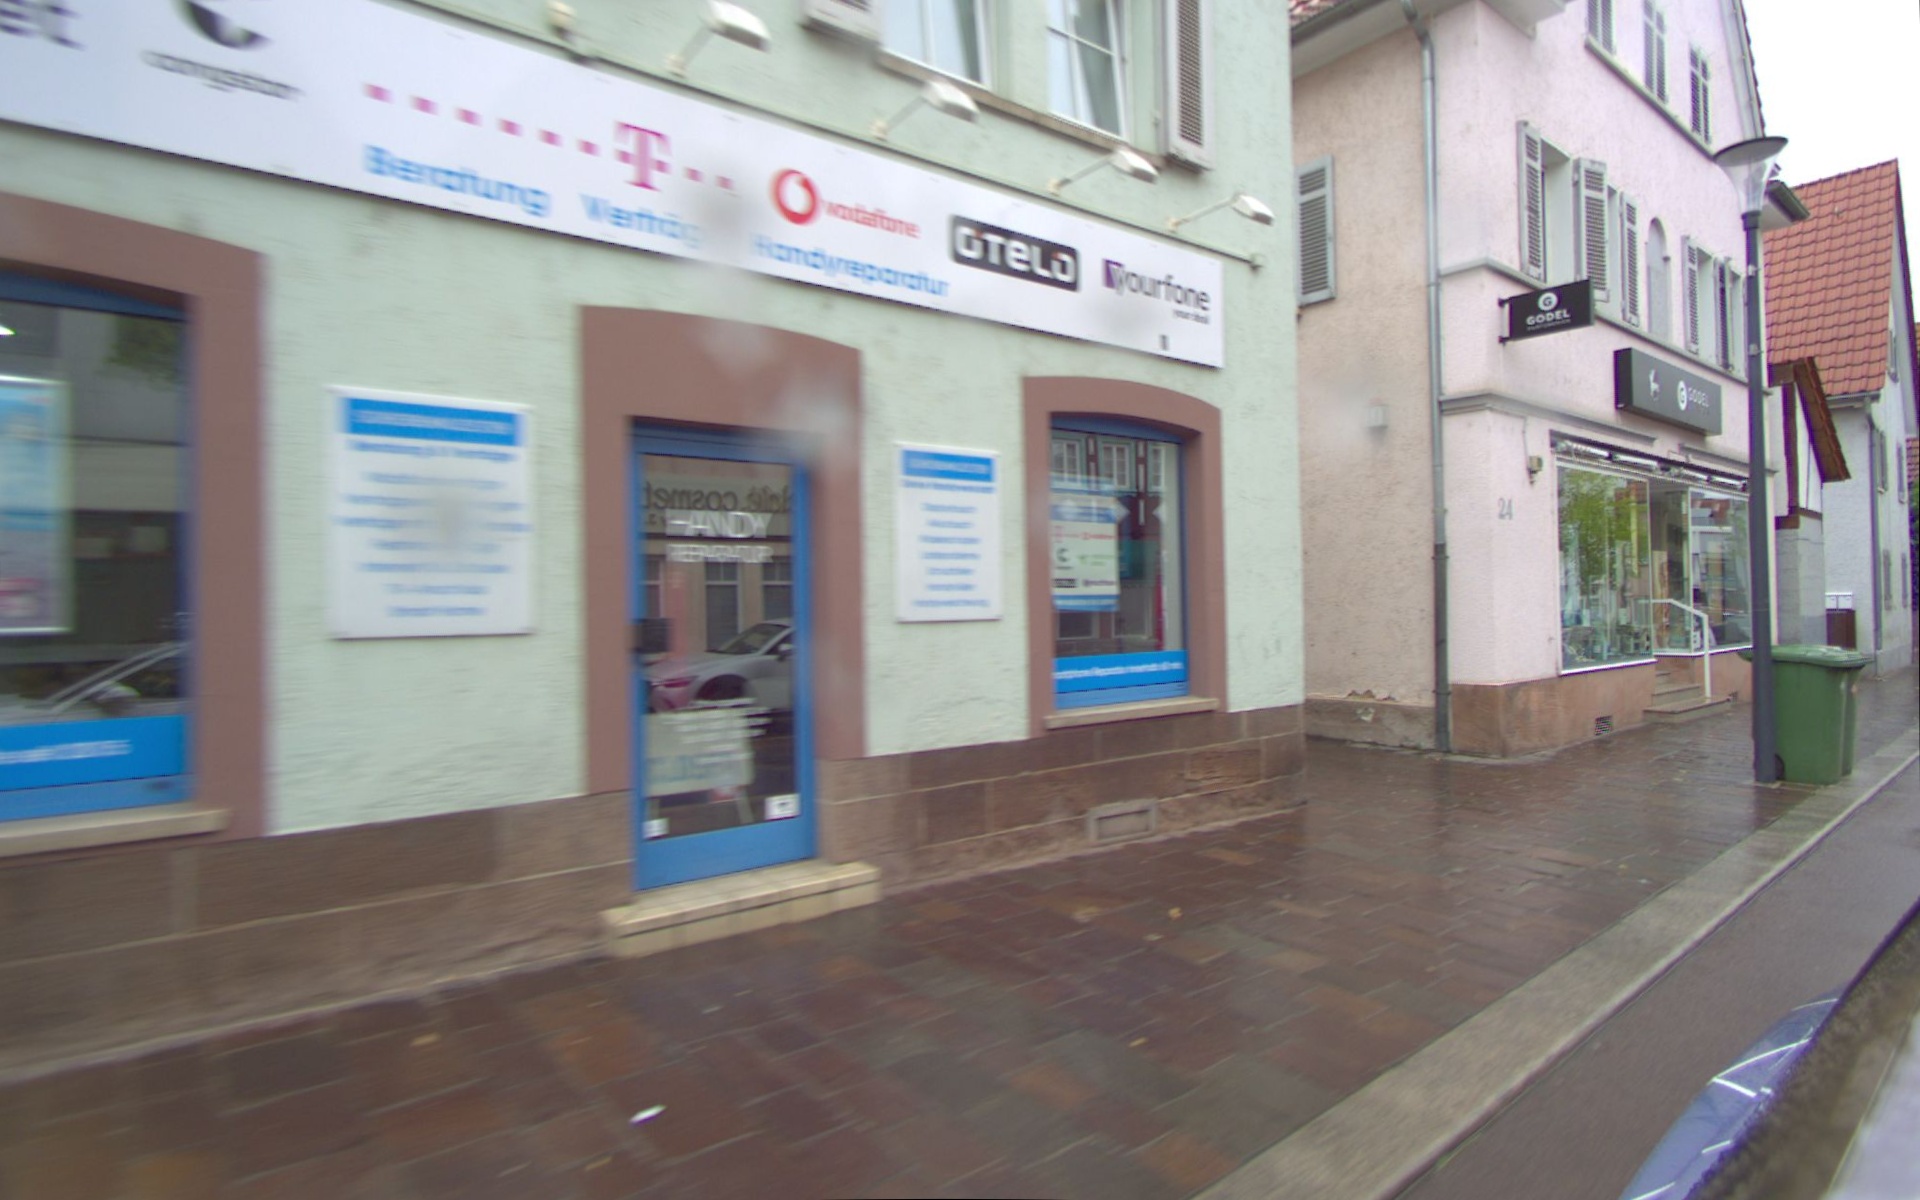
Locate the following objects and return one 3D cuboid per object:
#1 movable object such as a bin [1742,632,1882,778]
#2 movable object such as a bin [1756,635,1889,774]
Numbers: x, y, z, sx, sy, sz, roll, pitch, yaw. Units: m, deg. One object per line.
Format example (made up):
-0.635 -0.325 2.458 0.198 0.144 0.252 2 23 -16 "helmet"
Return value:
6.978 0.827 8.295 0.573 1.094 0.797 -1 0 -43 "movable object such as a bin"
7.418 0.862 8.709 0.605 1.094 0.793 -1 0 -43 "movable object such as a bin"
